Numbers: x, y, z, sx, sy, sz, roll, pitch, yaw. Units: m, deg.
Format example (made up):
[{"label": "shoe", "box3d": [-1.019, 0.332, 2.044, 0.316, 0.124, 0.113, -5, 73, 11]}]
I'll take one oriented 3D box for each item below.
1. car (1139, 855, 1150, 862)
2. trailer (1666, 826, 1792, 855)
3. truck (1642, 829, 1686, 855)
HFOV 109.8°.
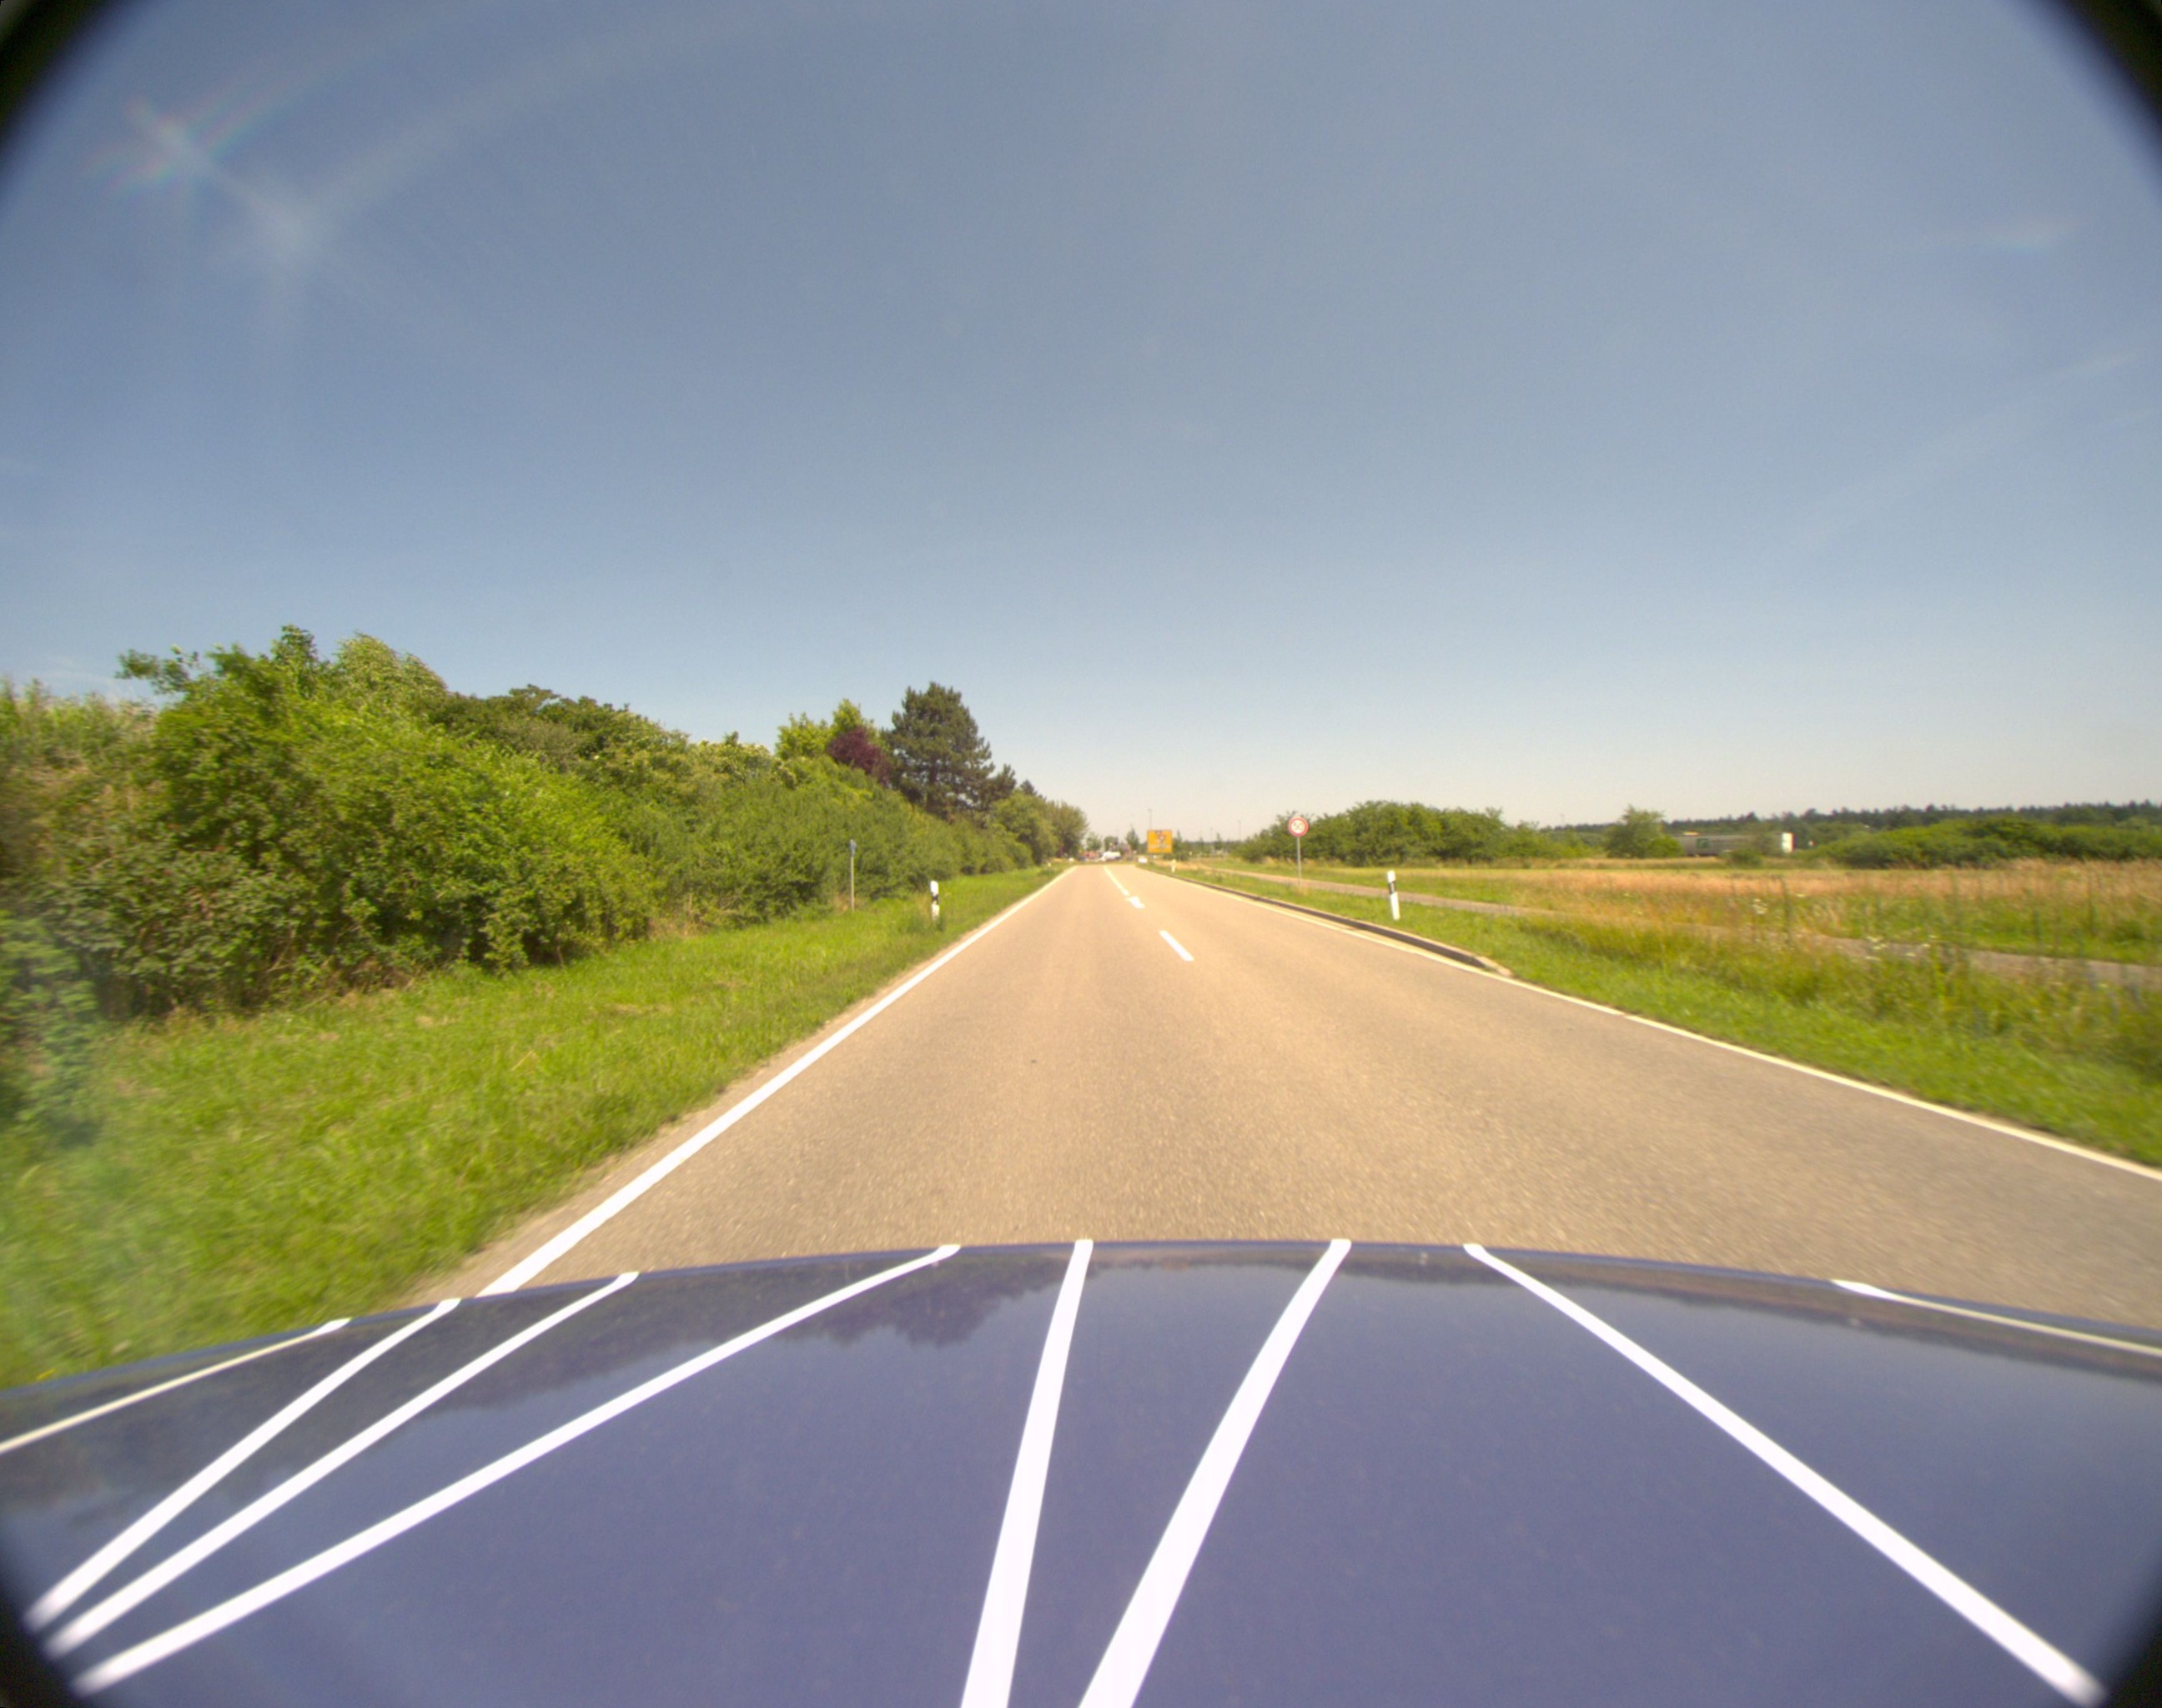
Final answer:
[{"label": "car", "box3d": [13.568, 0.968, 162.507, 1.746, 1.419, 3.999, -1, 0, -1]}, {"label": "trailer", "box3d": [93.380, -1.794, 110.048, 2.647, 3.911, 13.849, -1, 0, -28]}, {"label": "truck", "box3d": [89.658, -1.743, 116.925, 2.647, 3.911, 4.768, -1, 0, -28]}]
